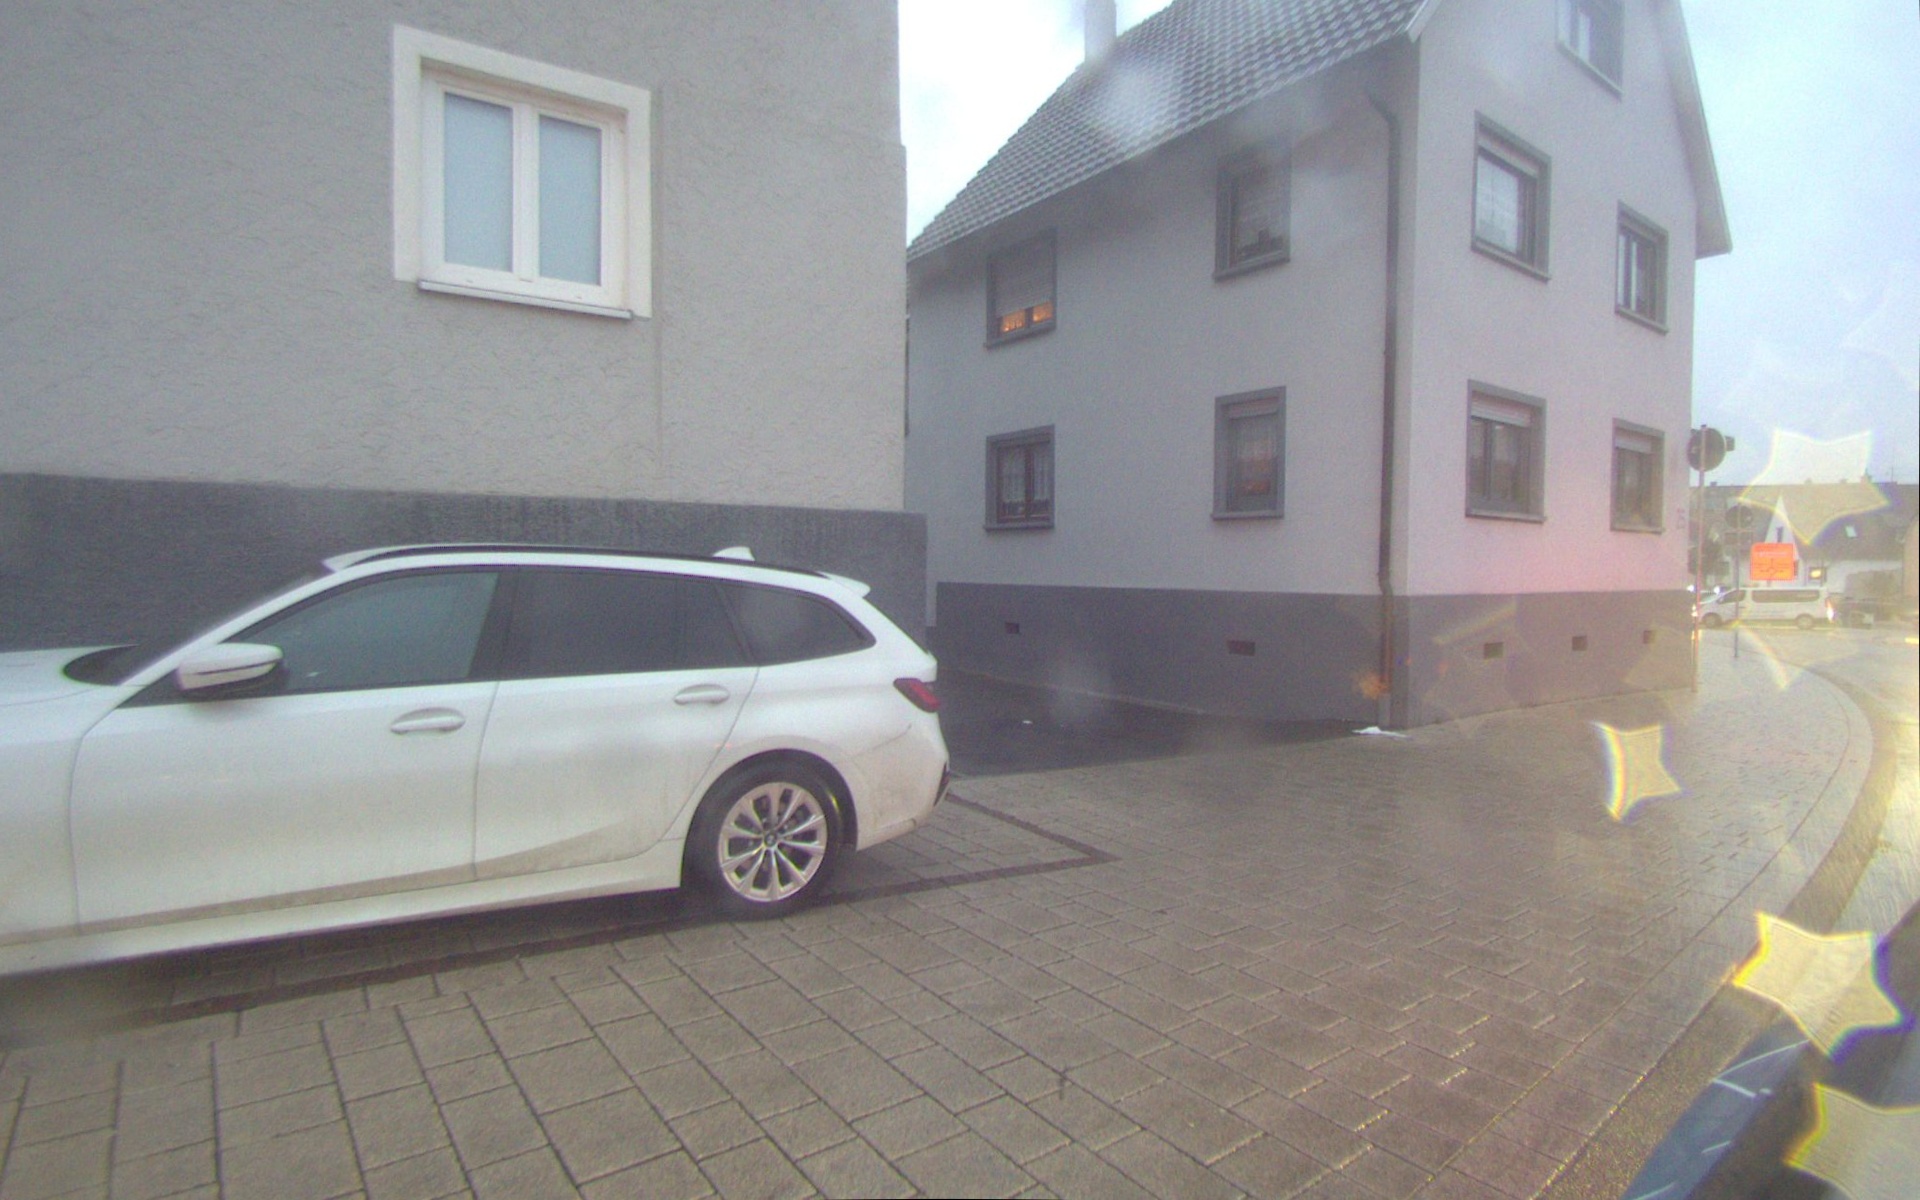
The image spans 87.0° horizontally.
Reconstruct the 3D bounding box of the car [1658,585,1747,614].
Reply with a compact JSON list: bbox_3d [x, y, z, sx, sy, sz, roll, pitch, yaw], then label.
[{"bbox_3d":[49.475,-0.041,67.501,4.370,1.824,1.833,2,1,19],"label":"car"}]

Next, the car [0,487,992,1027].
[{"bbox_3d":[-2.267,0.397,4.092,4.452,1.484,1.892,1,2,-31],"label":"car"}]

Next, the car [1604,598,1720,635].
[{"bbox_3d":[32.445,0.722,46.897,1.850,1.524,4.123,0,1,-19],"label":"car"}]

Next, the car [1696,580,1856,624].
[{"bbox_3d":[38.337,0.087,47.660,5.758,1.970,1.960,0,0,43],"label":"car"}]

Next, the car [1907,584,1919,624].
[{"bbox_3d":[41.503,0.216,40.711,4.393,1.652,2.142,1,1,20],"label":"car"}]

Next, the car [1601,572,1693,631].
[{"bbox_3d":[24.896,0.022,36.851,1.959,1.984,4.810,1,1,25],"label":"car"}]
